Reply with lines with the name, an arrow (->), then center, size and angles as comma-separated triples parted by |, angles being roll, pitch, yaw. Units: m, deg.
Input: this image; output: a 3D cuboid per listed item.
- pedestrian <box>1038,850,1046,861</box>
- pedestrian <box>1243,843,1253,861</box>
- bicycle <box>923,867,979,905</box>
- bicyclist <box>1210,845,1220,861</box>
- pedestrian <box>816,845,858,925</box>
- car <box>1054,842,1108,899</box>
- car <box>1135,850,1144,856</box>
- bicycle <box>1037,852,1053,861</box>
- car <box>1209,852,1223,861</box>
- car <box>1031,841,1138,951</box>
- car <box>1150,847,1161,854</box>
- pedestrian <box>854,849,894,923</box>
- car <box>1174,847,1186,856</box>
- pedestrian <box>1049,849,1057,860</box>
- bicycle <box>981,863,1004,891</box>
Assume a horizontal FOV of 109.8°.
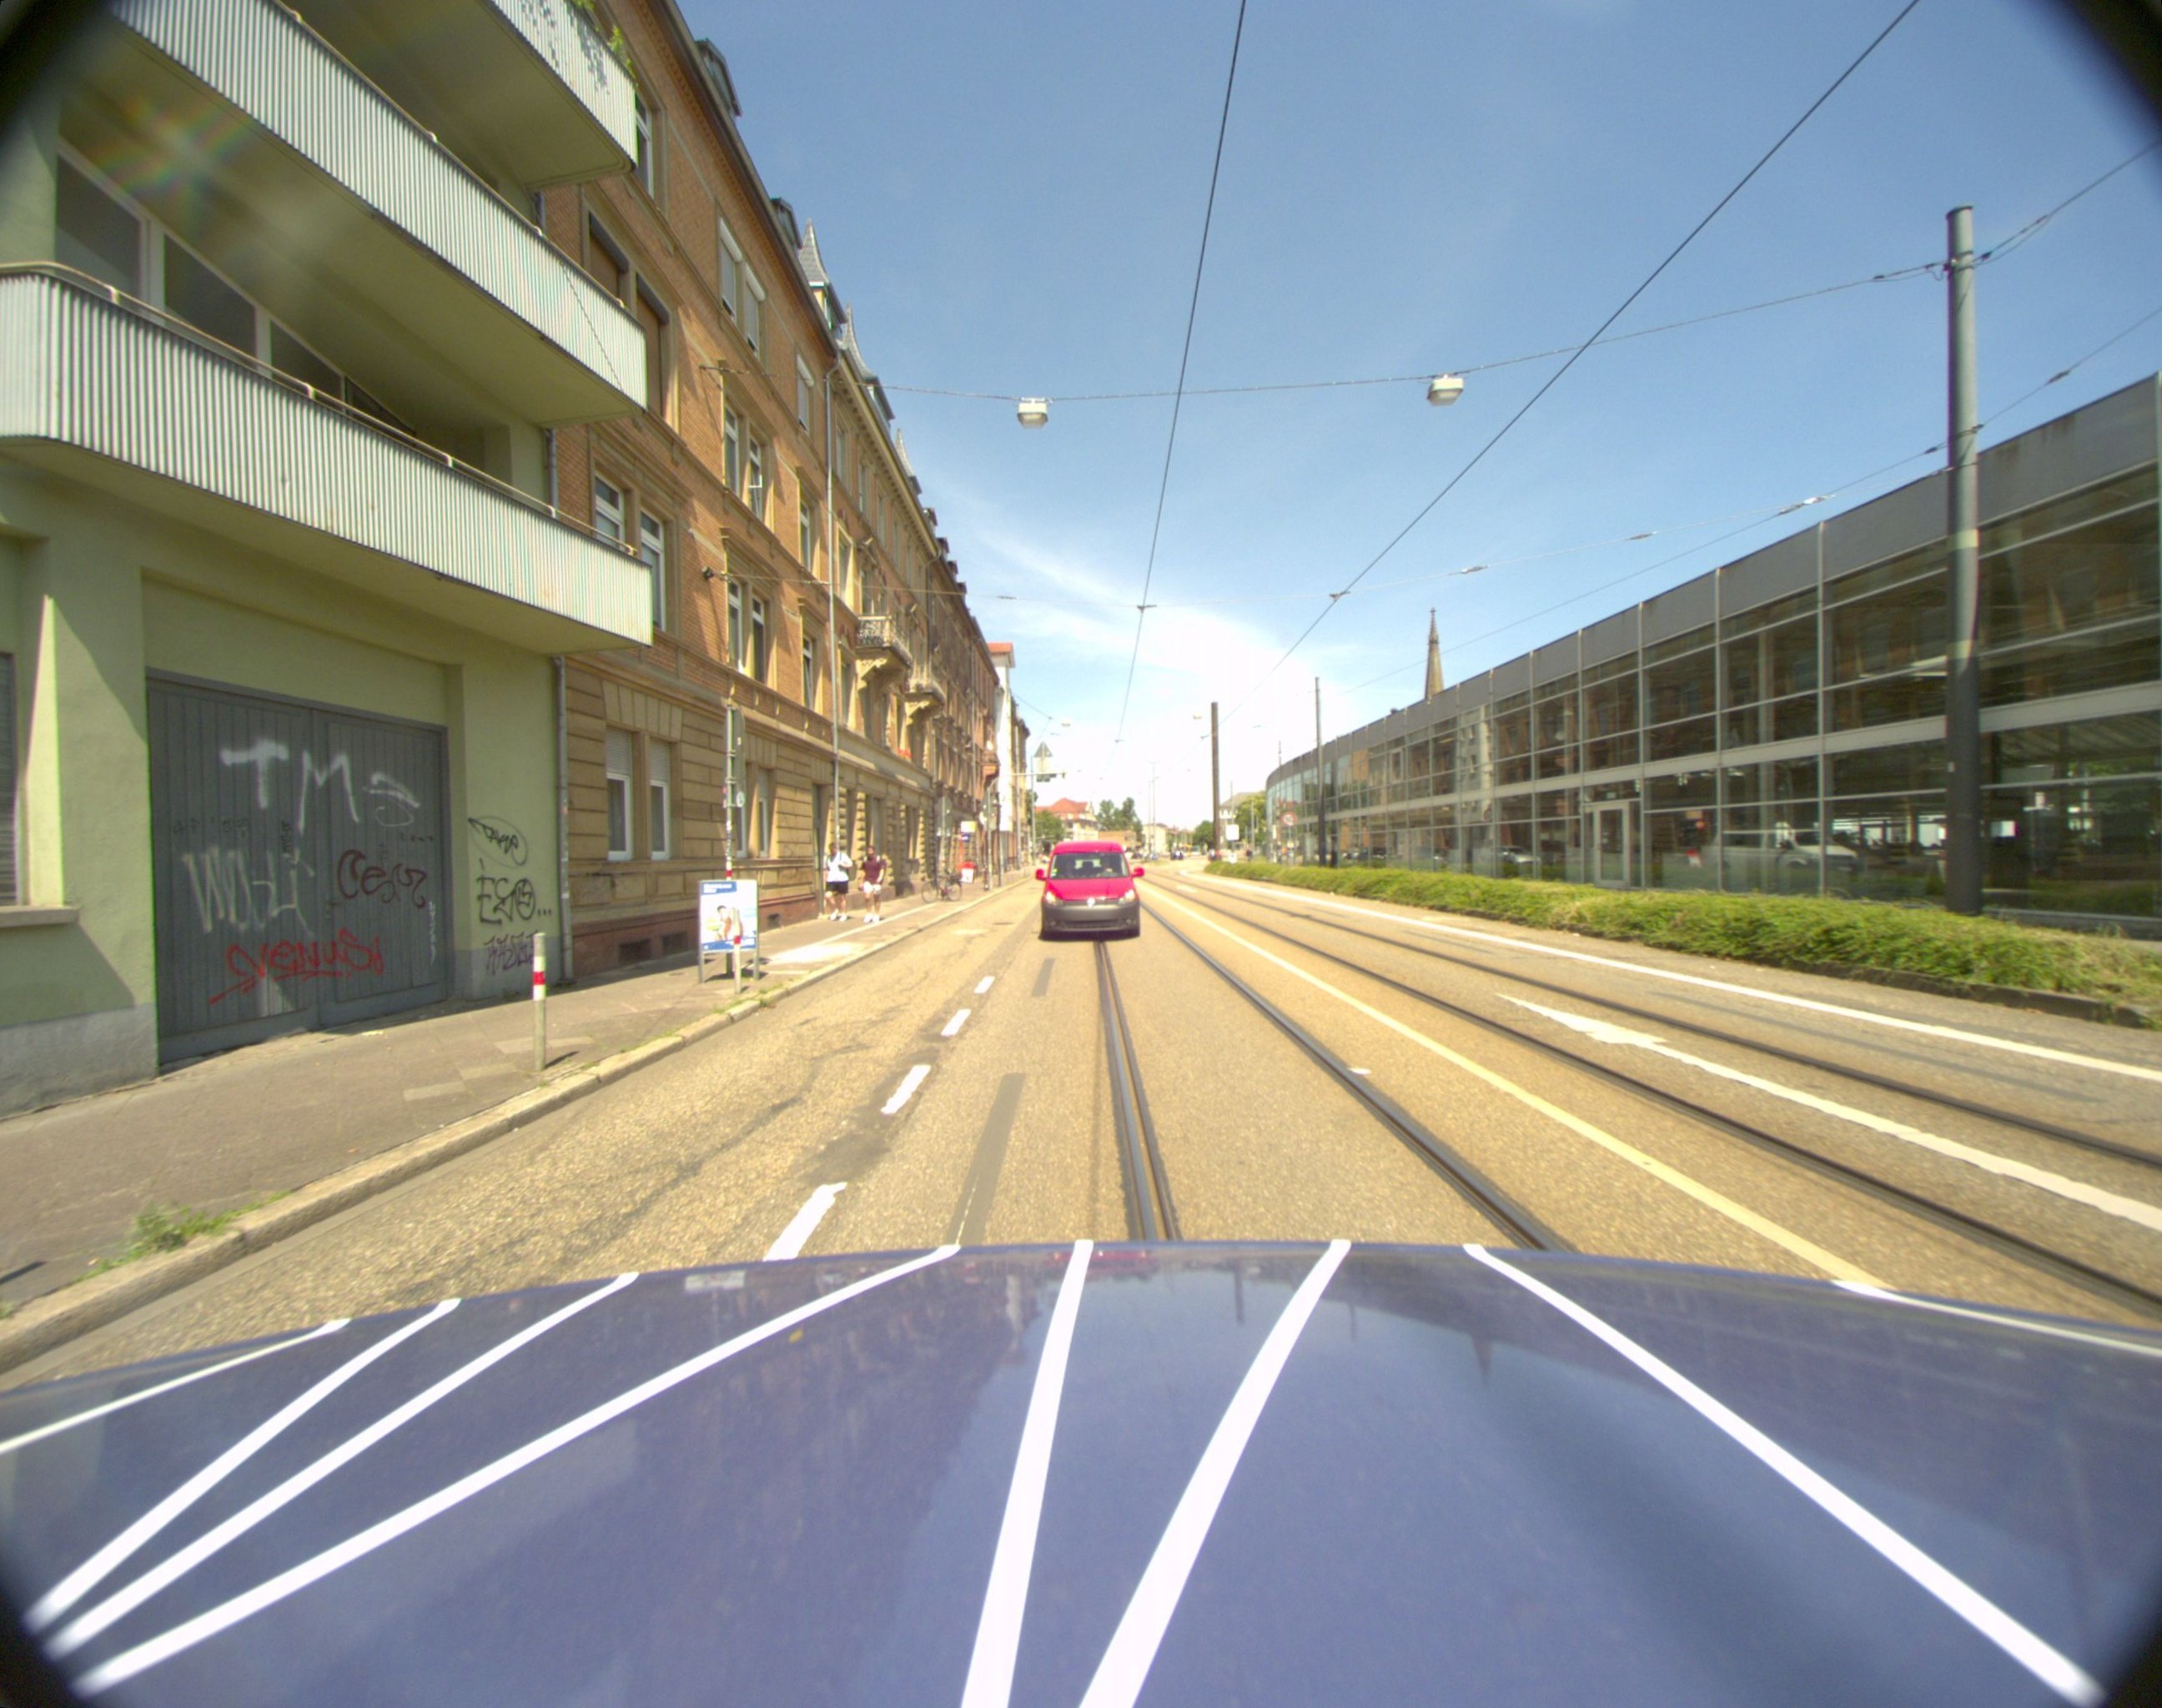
pedestrian -> -5.889, 0.228, 114.486 | 0.826, 1.765, 0.812 | -3, 2, -43
pedestrian -> 15.412, -0.149, 70.055 | 0.729, 1.632, 0.820 | -1, 1, 4
bicycle -> -4.249, 1.019, 24.951 | 0.499, 1.124, 2.247 | 0, 1, 29
bicyclist -> 12.892, -0.070, 73.236 | 0.698, 1.539, 0.982 | -1, 1, 27
pedestrian -> -5.790, 0.714, 18.061 | 0.704, 1.838, 0.643 | 2, 1, 1
car -> 0.006, 0.566, 28.742 | 1.874, 1.954, 3.823 | -2, 1, 0
car -> 13.172, -0.272, 170.934 | 1.675, 1.453, 3.903 | -1, 0, 0
bicycle -> -5.454, 0.413, 114.814 | 2.225, 1.243, 1.096 | -2, 0, -43
car -> 22.703, 0.413, 127.944 | 1.762, 1.359, 4.289 | -2, 0, 2
car -> 0.188, 0.693, 14.806 | 1.755, 1.802, 4.098 | -2, 0, 4
car -> 15.766, -0.755, 160.704 | 1.998, 1.521, 5.131 | 0, 1, 1
pedestrian -> -4.866, 0.733, 17.873 | 0.722, 1.710, 0.643 | -1, 1, 1
car -> 17.812, -0.479, 136.343 | 1.826, 1.617, 4.526 | 0, 1, 4
pedestrian -> -4.362, 0.040, 118.816 | 0.808, 1.769, 0.876 | -1, 1, 33
bicycle -> -3.804, 0.968, 32.894 | 0.448, 1.090, 2.423 | -1, 0, 6
